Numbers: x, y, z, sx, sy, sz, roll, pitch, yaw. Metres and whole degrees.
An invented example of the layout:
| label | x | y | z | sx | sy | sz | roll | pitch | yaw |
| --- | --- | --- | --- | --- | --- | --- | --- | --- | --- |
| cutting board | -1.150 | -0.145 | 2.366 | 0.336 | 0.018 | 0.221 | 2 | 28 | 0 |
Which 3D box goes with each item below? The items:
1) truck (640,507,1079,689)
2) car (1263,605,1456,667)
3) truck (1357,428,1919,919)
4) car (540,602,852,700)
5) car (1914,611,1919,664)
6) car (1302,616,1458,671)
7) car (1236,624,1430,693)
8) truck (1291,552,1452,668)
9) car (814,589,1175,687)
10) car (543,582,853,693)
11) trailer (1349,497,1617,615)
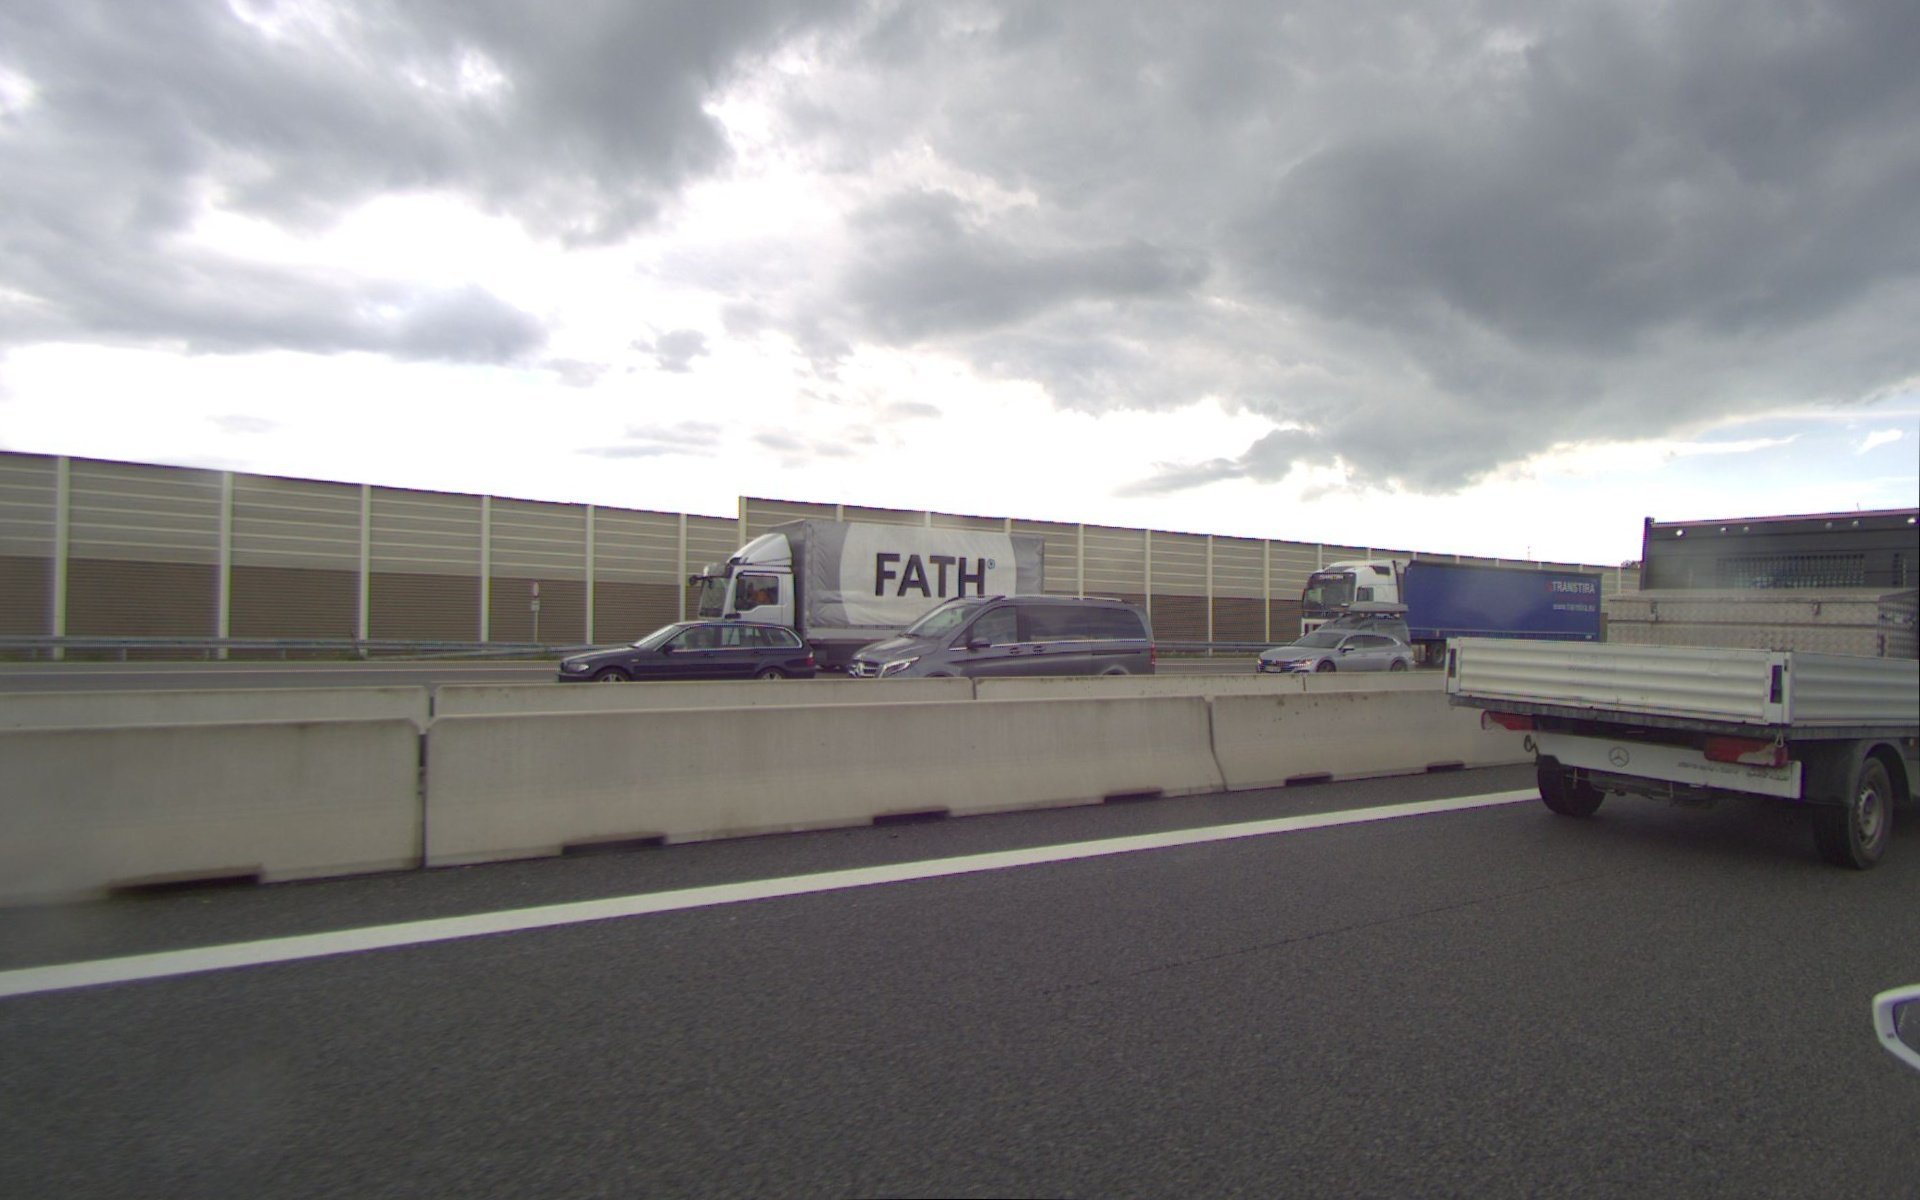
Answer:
| label | x | y | z | sx | sy | sz | roll | pitch | yaw |
| --- | --- | --- | --- | --- | --- | --- | --- | --- | --- |
| truck | -2.071 | 0.064 | 23.373 | 9.875 | 3.574 | 2.684 | 2 | 0 | -30 |
| car | 10.512 | 0.954 | 26.367 | 4.936 | 1.511 | 2.052 | 2 | -1 | -28 |
| truck | 6.387 | 0.444 | 7.910 | 7.068 | 2.472 | 2.295 | 1 | 0 | -32 |
| car | -4.577 | 0.877 | 17.621 | 4.937 | 1.511 | 2.051 | 2 | -1 | -29 |
| car | 49.768 | 1.907 | 49.173 | 6.999 | 2.583 | 2.373 | 2 | -1 | -29 |
| car | 13.488 | 1.392 | 32.185 | 4.939 | 1.621 | 2.050 | 2 | -1 | -30 |
| car | 9.654 | 1.486 | 25.893 | 4.939 | 1.621 | 2.050 | 2 | -1 | -30 |
| truck | 15.511 | 0.423 | 37.838 | 5.659 | 4.088 | 2.732 | 2 | -1 | -30 |
| car | 0.655 | 0.561 | 15.690 | 5.536 | 1.316 | 1.863 | 1 | -1 | -31 |
| car | -4.519 | 0.630 | 17.643 | 4.958 | 1.722 | 1.863 | 1 | -1 | -31 |
| trailer | 22.075 | -1.552 | 41.756 | 14.285 | 4.085 | 2.748 | 2 | -1 | -31 |
